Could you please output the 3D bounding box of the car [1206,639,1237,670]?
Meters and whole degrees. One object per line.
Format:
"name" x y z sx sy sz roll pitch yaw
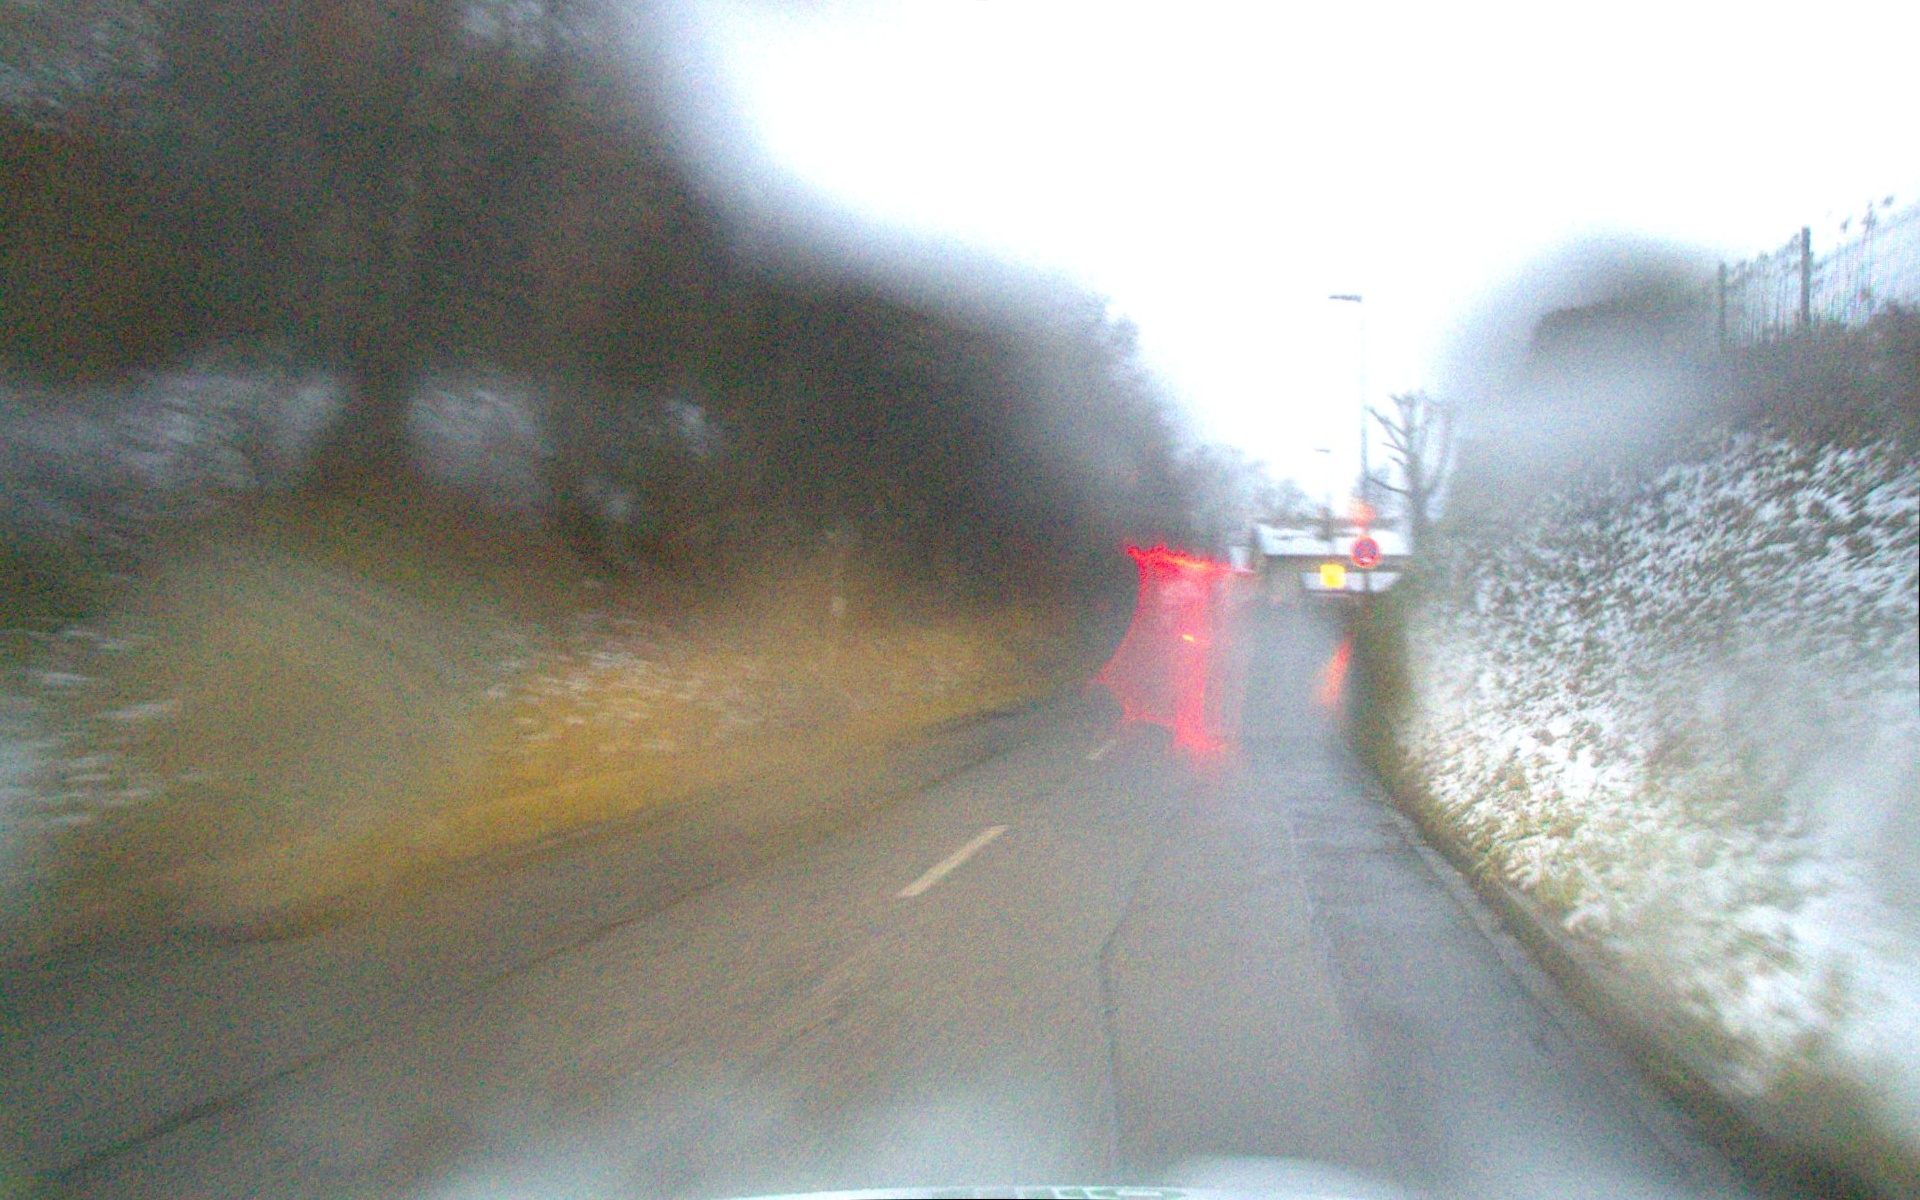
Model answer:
"car" 16.467 3.431 103.926 1.766 1.769 4.002 3 -3 10

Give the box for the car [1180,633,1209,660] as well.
"car" 16.639 3.314 117.259 1.766 1.646 4.002 3 -3 10
